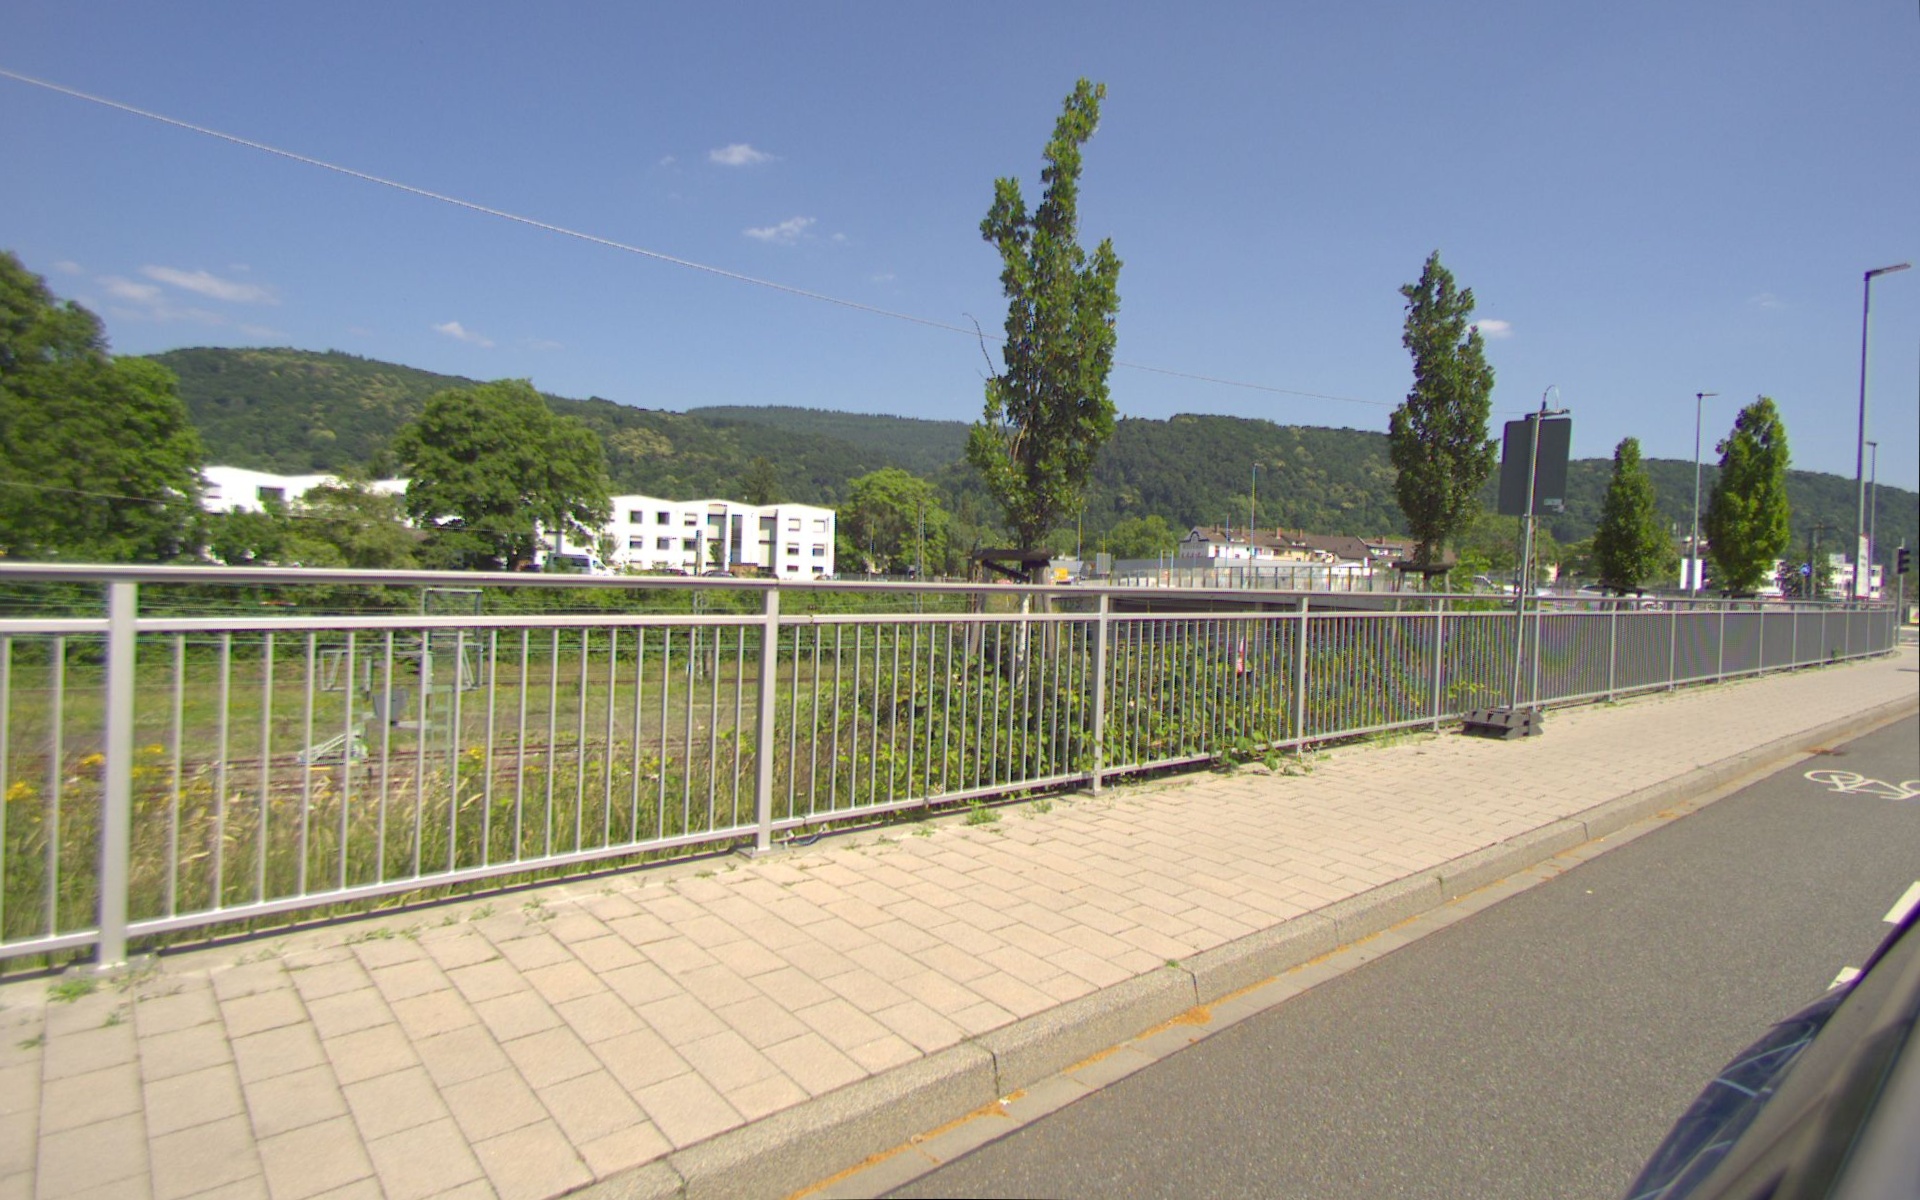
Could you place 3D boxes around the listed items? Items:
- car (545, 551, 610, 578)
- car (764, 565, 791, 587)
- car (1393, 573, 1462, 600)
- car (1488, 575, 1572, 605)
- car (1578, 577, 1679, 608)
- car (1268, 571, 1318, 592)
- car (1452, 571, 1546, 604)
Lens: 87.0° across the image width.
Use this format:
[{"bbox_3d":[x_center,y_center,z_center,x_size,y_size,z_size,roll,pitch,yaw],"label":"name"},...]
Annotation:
[{"bbox_3d":[-33.068,-3.082,87.440,4.895,2.139,2.001,1,2,-35],"label":"car"},{"bbox_3d":[-17.750,-2.315,98.157,1.958,2.038,4.481,1,1,-18],"label":"car"},{"bbox_3d":[31.705,-0.951,68.774,1.700,1.646,4.453,2,2,-15],"label":"car"},{"bbox_3d":[34.228,-0.654,60.862,1.700,1.646,4.453,2,2,-16],"label":"car"},{"bbox_3d":[35.797,-0.425,54.341,1.700,1.487,4.421,2,2,-16],"label":"car"},{"bbox_3d":[27.859,-1.593,84.798,1.700,1.646,4.452,1,1,-15],"label":"car"},{"bbox_3d":[31.122,-0.776,58.610,1.958,1.740,4.644,1,2,-20],"label":"car"}]
